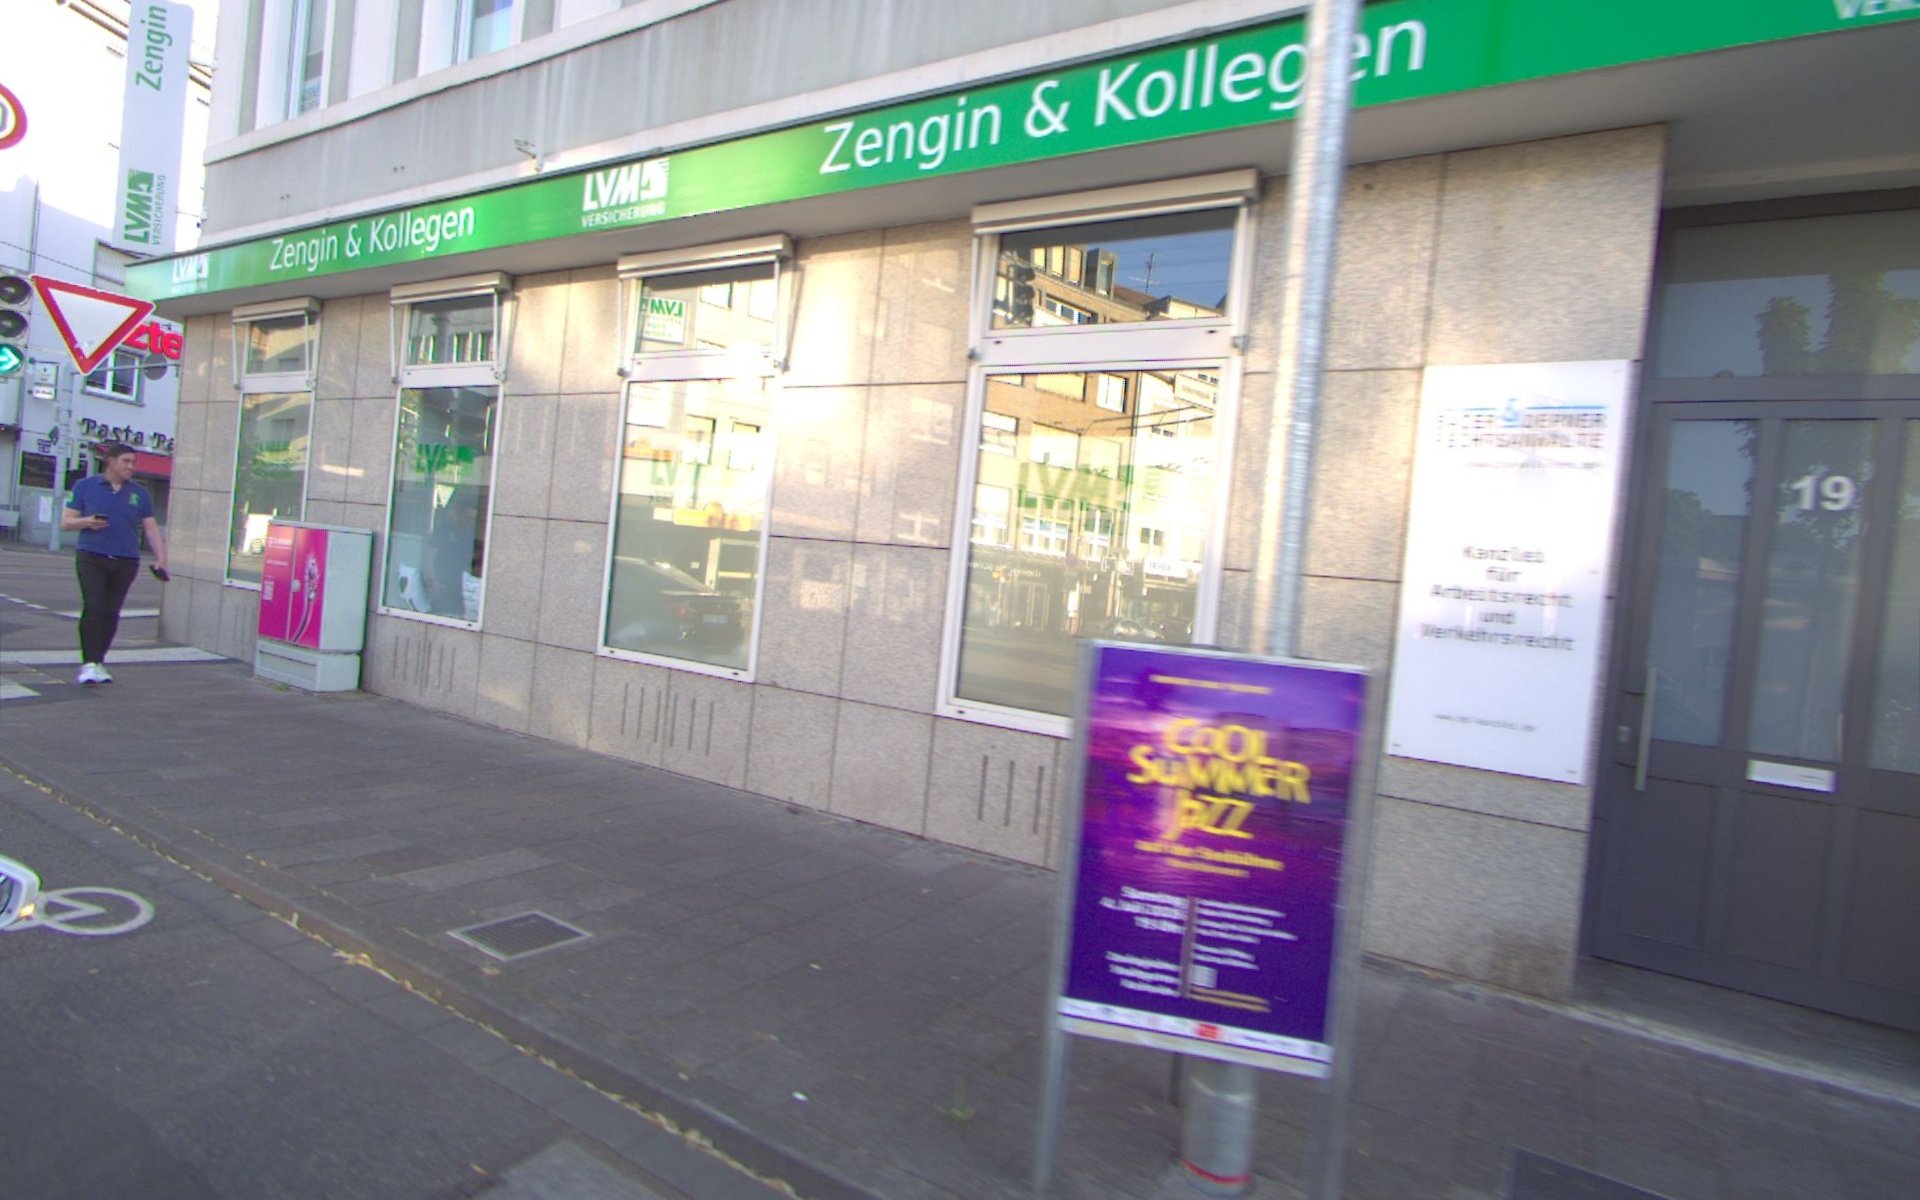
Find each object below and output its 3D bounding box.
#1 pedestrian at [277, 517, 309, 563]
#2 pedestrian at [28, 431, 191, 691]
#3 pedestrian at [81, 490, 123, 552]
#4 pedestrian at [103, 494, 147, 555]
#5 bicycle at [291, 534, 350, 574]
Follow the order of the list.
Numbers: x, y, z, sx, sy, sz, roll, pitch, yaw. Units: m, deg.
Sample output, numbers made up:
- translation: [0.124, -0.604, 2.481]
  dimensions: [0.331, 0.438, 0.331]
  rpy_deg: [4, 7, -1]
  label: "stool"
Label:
- translation: [-26.310, -2.360, 39.686]
  dimensions: [0.671, 1.682, 0.624]
  rpy_deg: [7, 2, 8]
  label: "pedestrian"
- translation: [-6.493, -0.292, 7.680]
  dimensions: [0.867, 1.851, 0.690]
  rpy_deg: [6, 2, 36]
  label: "pedestrian"
- translation: [-26.608, -2.448, 31.197]
  dimensions: [0.626, 1.801, 0.600]
  rpy_deg: [6, 1, 6]
  label: "pedestrian"
- translation: [-25.842, -2.315, 31.145]
  dimensions: [0.626, 1.767, 0.669]
  rpy_deg: [6, 1, 4]
  label: "pedestrian"
- translation: [-24.122, -1.734, 37.925]
  dimensions: [1.861, 1.226, 0.553]
  rpy_deg: [8, 1, 8]
  label: "bicycle"
